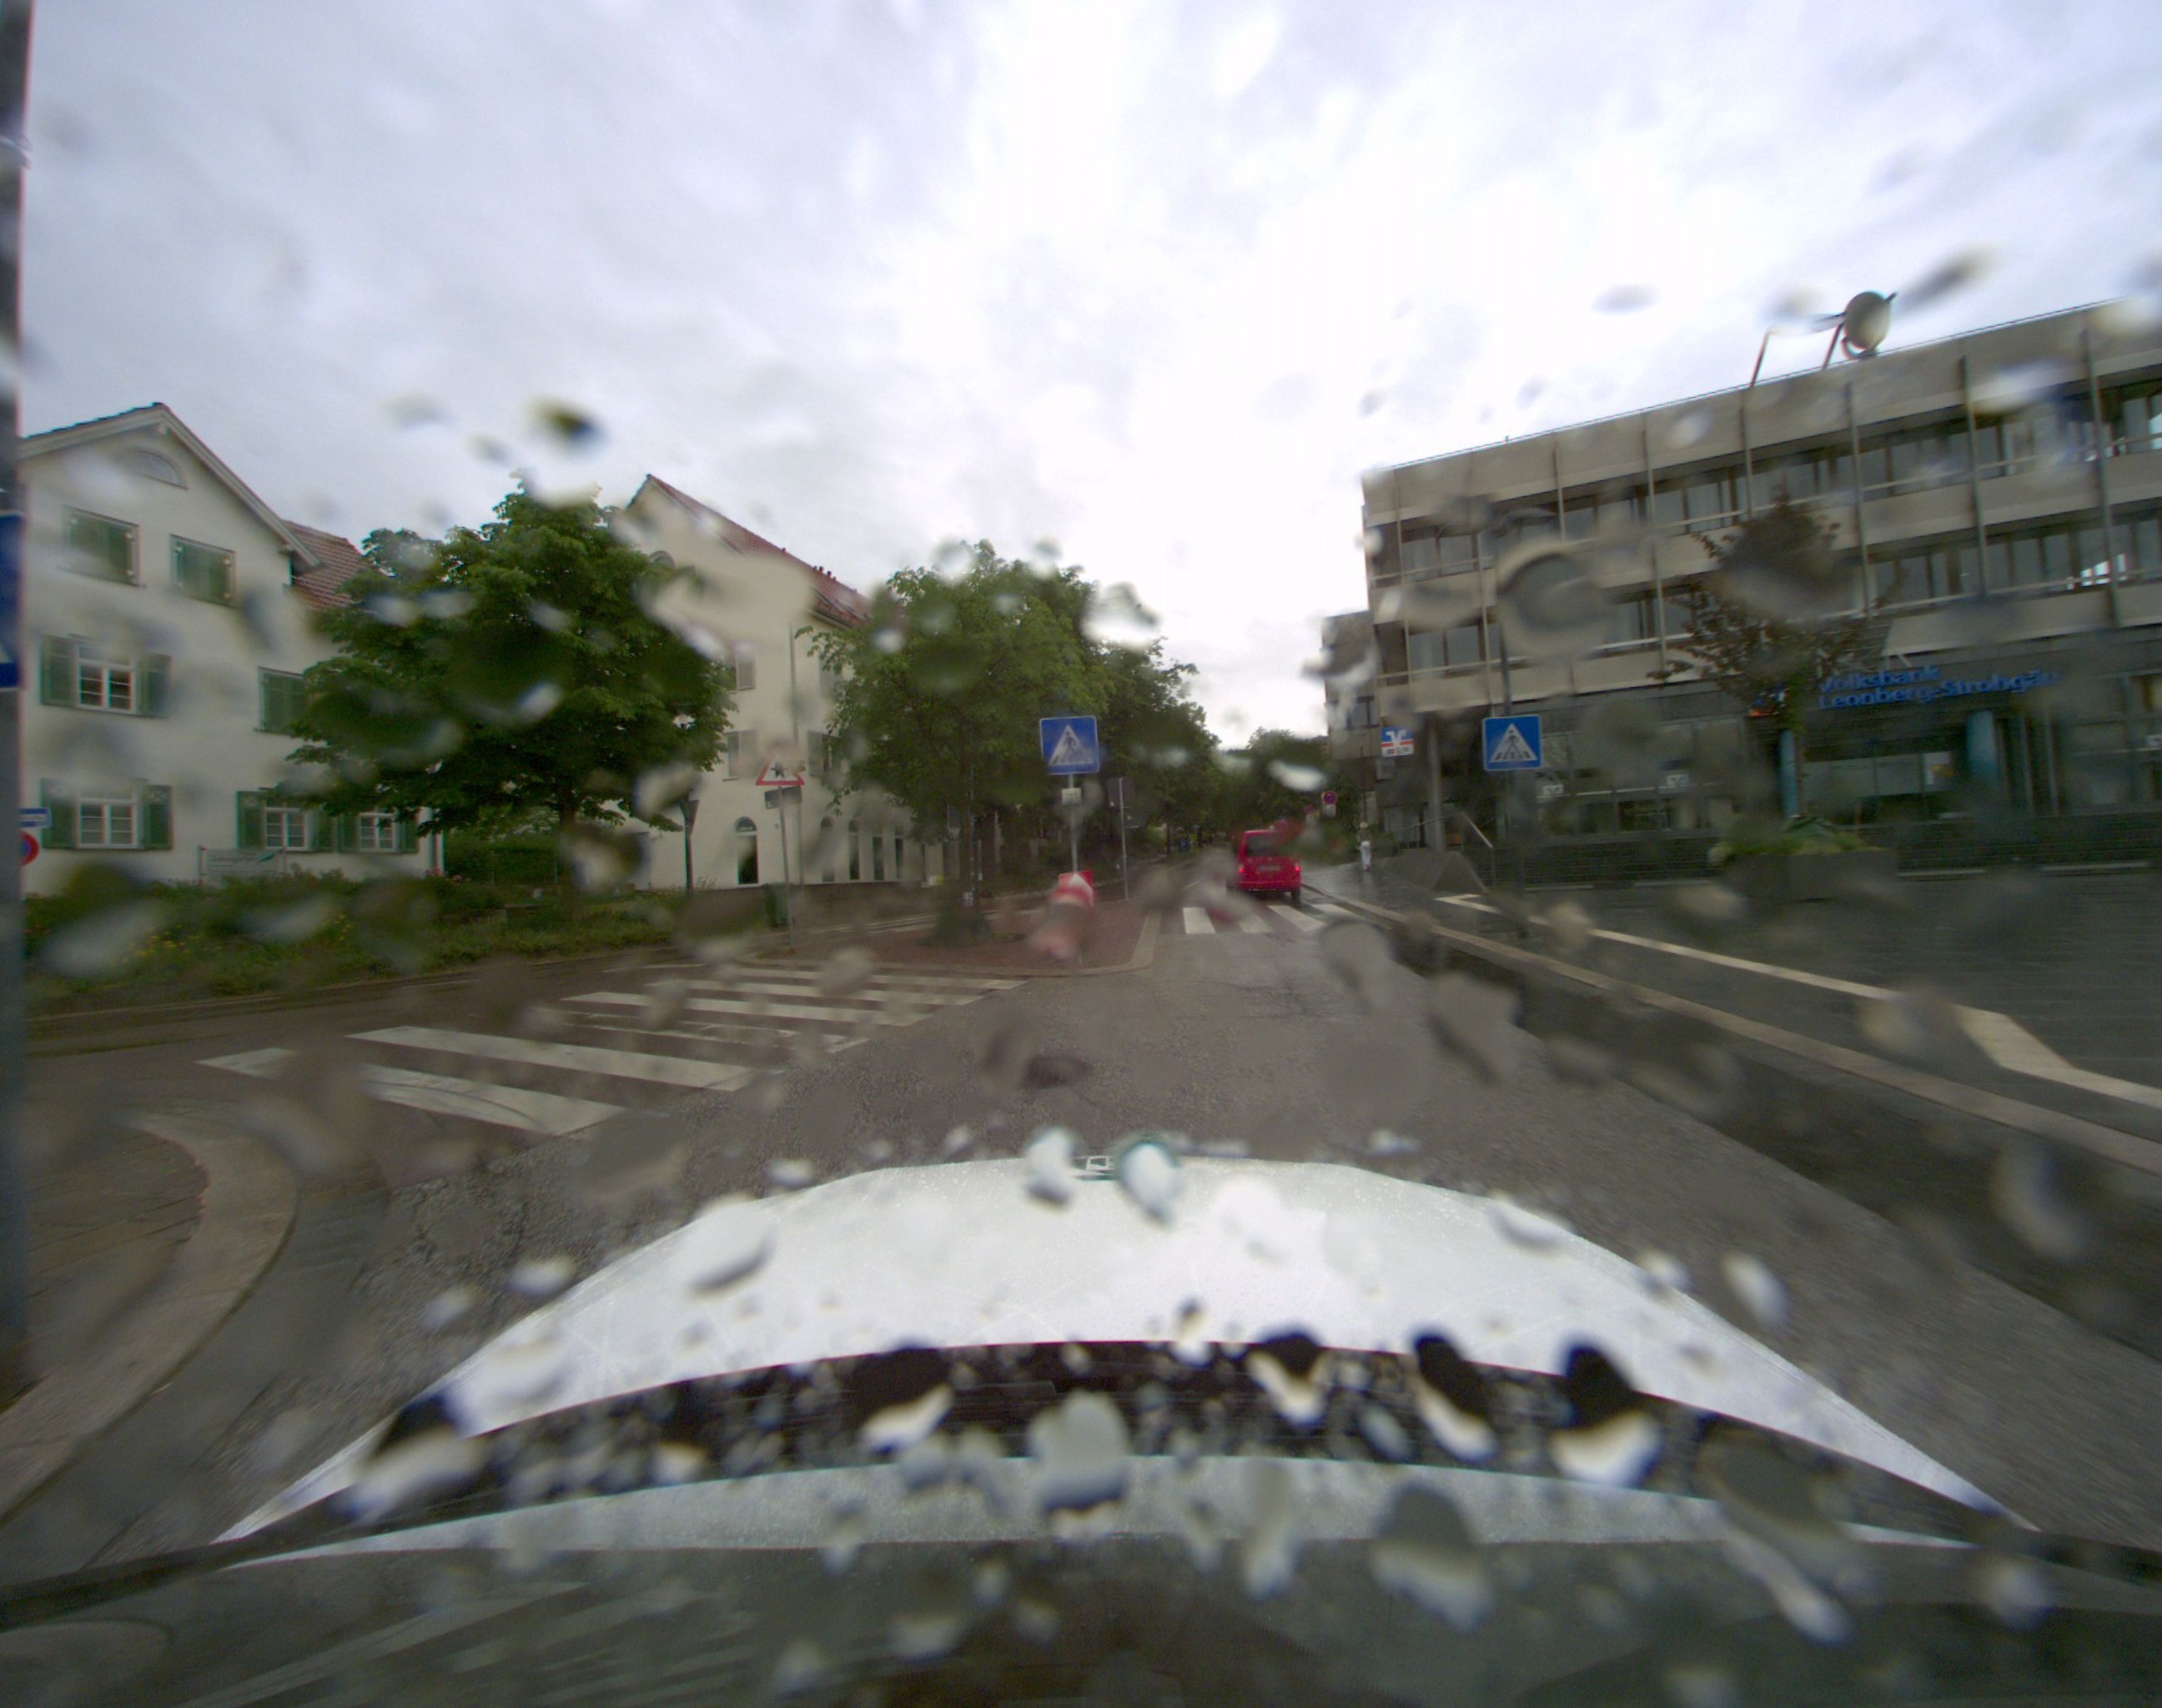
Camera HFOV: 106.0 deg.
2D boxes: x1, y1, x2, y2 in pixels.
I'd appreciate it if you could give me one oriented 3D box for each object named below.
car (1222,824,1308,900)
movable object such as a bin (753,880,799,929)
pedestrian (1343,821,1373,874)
[{"bbox_3d":[5.048,0.207,22.871,1.852,1.830,4.193,-3,-1,7],"label":"car"},{"bbox_3d":[-7.401,1.222,19.792,0.731,1.124,0.653,-5,-1,22],"label":"movable object such as a bin"},{"bbox_3d":[10.015,-0.246,29.398,0.827,1.830,0.820,-5,-1,24],"label":"pedestrian"}]
